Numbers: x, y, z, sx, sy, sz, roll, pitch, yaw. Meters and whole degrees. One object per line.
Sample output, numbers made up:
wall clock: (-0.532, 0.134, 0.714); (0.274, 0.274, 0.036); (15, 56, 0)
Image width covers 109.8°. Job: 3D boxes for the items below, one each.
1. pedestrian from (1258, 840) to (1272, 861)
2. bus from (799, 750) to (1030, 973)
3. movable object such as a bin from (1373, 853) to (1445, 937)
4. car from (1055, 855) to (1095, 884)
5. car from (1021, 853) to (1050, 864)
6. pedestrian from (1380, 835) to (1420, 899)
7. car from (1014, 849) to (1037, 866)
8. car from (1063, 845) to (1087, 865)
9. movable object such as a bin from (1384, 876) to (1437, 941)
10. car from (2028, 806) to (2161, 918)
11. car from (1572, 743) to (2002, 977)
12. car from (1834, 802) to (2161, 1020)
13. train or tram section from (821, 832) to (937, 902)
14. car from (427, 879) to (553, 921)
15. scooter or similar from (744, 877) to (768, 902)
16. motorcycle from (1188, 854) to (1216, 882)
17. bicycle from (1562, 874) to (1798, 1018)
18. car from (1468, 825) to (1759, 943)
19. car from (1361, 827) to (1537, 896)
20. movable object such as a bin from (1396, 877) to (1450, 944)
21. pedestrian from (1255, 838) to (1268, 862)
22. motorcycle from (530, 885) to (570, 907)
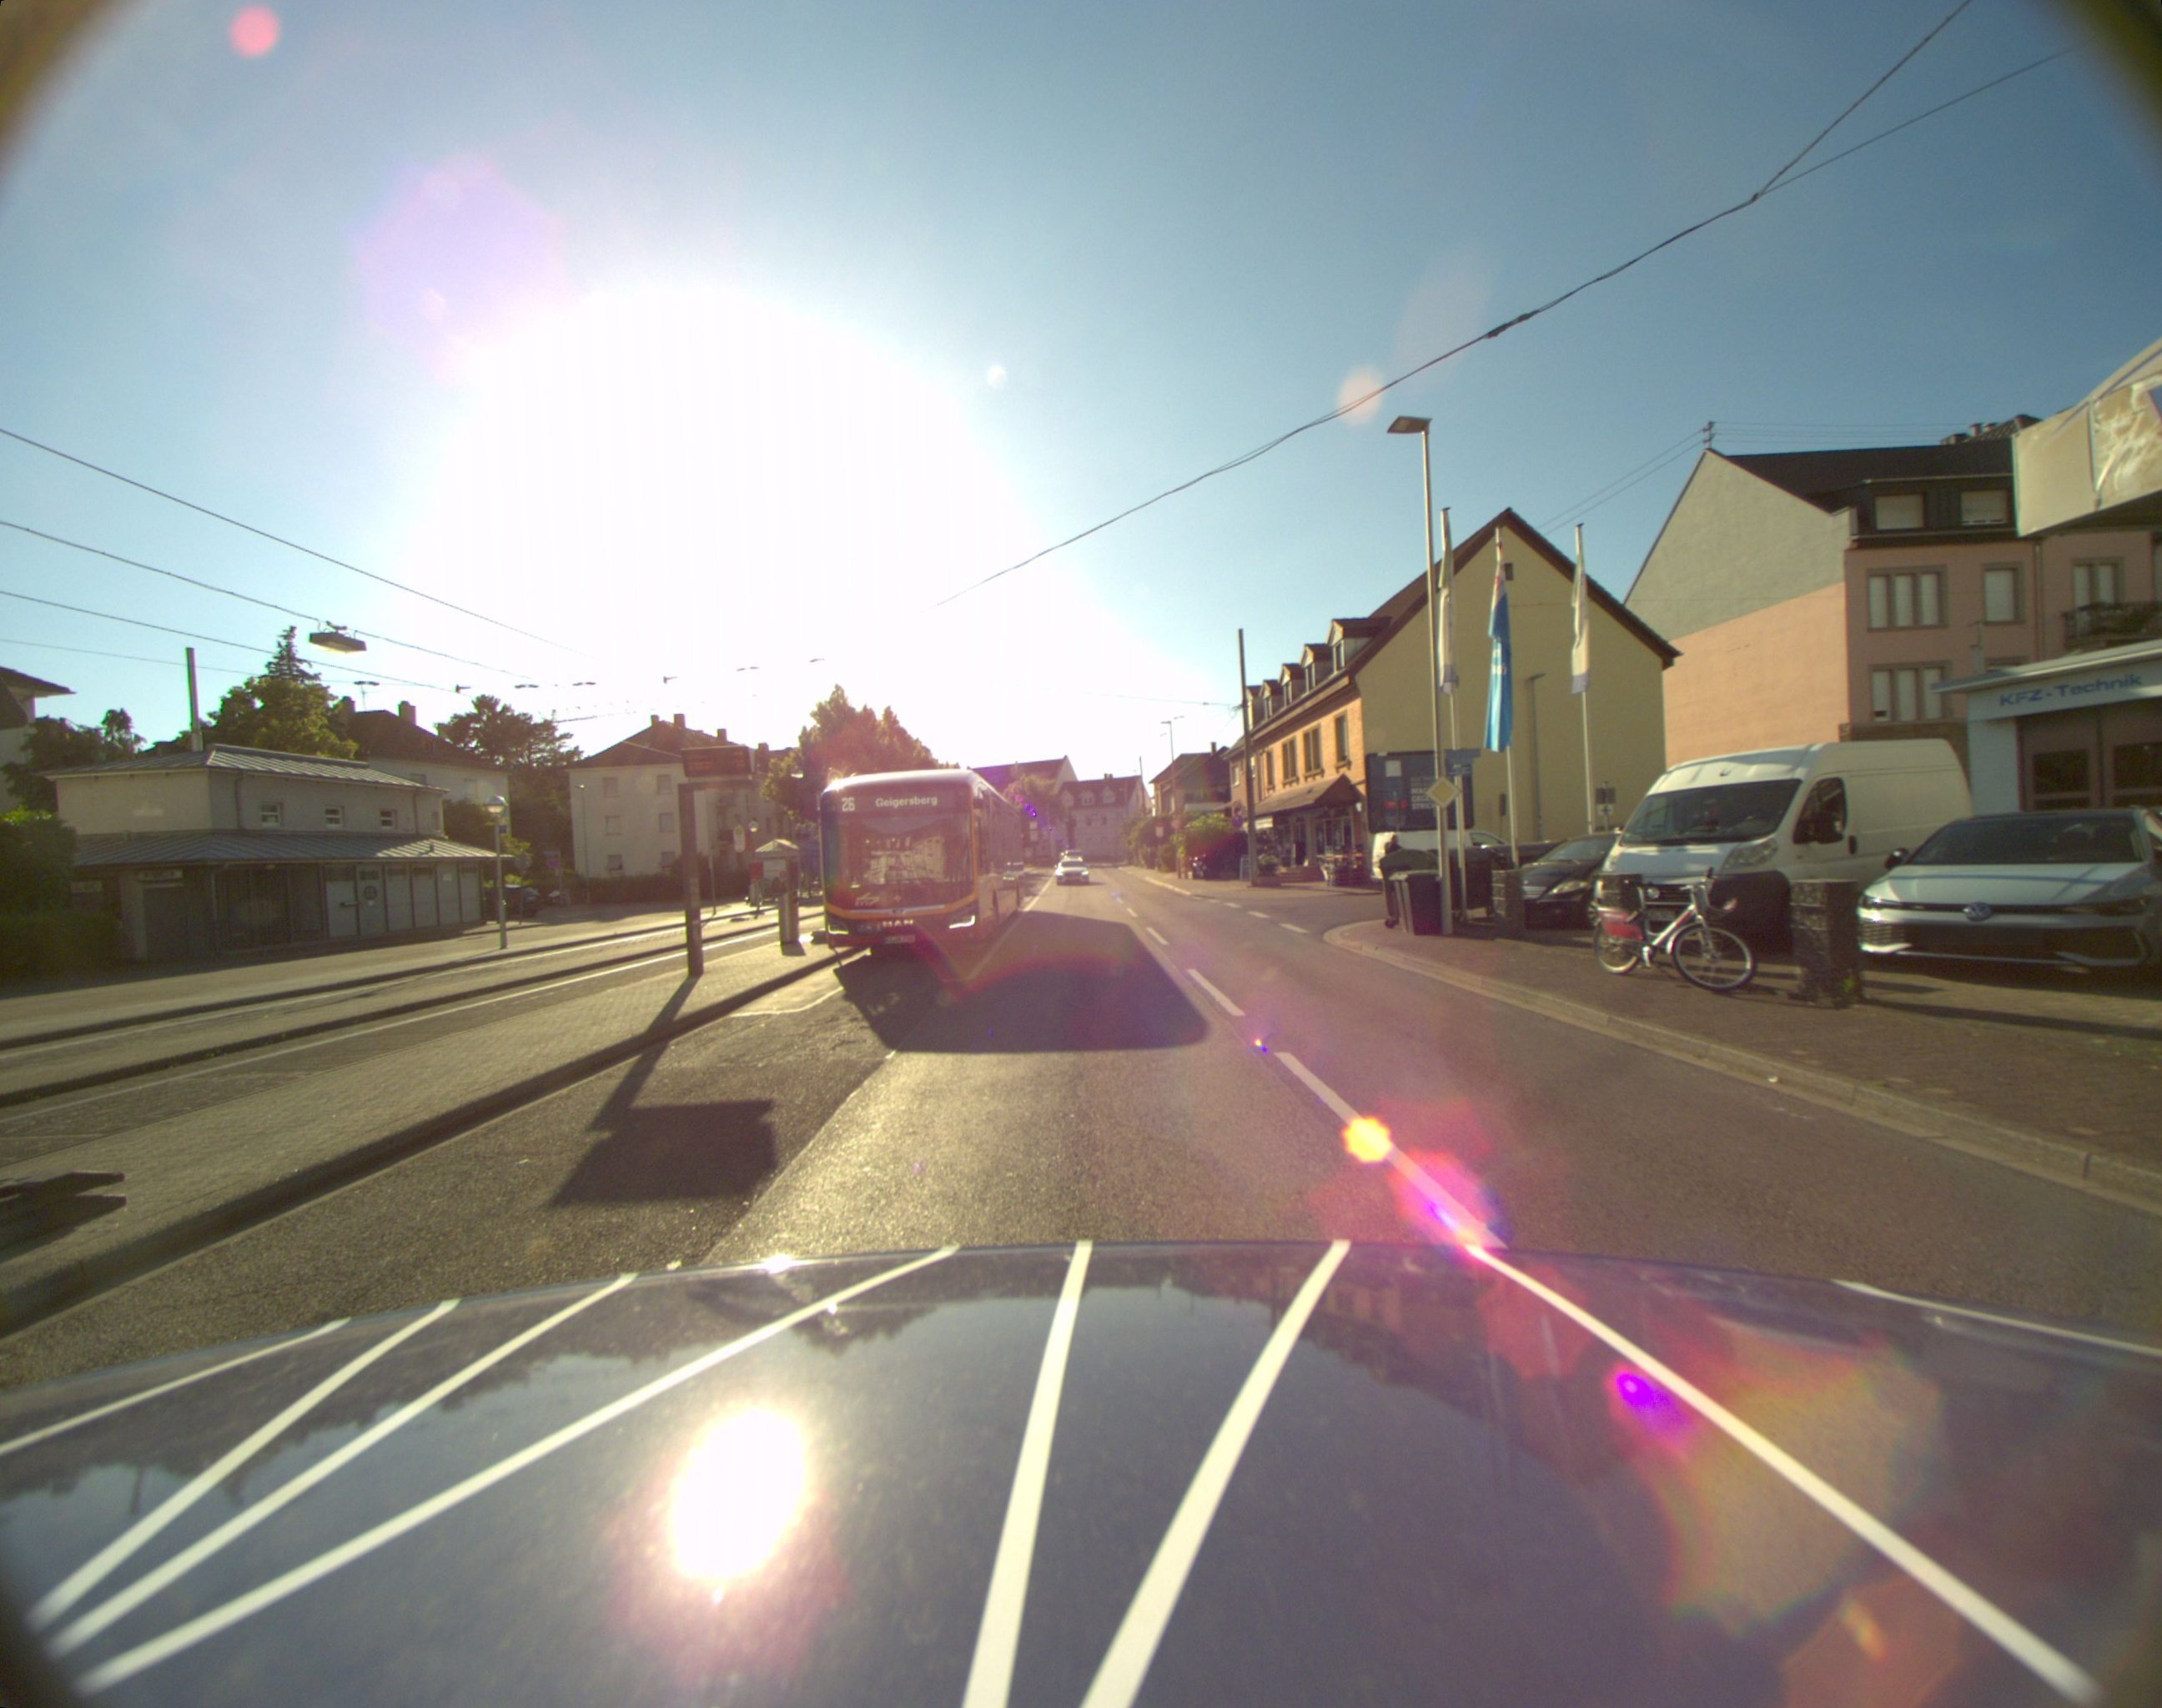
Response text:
pedestrian: (9.380, -0.192, 38.690); (0.525, 1.041, 0.383); (-3, 1, -17)
bus: (-3.029, 0.112, 17.998); (2.695, 3.396, 12.017); (-3, 0, 0)
movable object such as a bin: (6.220, 0.765, 14.375); (1.056, 1.473, 1.315); (-4, -3, 28)
car: (-0.291, 0.875, 44.542); (1.998, 1.454, 4.450); (-3, 0, 3)
car: (-7.186, 0.681, 119.580); (4.196, 1.454, 1.610); (-4, 0, 31)
pedestrian: (9.673, 0.389, 23.046); (0.794, 1.857, 0.820); (-3, 1, 2)
car: (-5.855, 0.388, 80.710); (1.998, 1.664, 4.000); (-2, 0, 0)
car: (-0.688, 0.095, 80.236); (1.872, 1.922, 4.789); (-5, 0, -7)
movable object such as a bin: (5.774, 0.951, 13.324); (0.661, 1.056, 0.585); (-5, -1, 12)
car: (16.282, 0.076, 10.141); (1.772, 1.559, 4.315); (-4, 0, -2)
car: (9.254, -0.059, 9.965); (5.076, 2.455, 2.105); (-4, 1, -22)
car: (9.335, 0.372, 7.399); (4.005, 1.559, 1.769); (-4, 0, -30)
train or tram section: (-11.951, 0.472, 47.260); (2.965, 3.514, 15.964); (-2, 1, -1)
car: (-28.094, 2.169, 36.221); (4.449, 1.759, 2.000); (-2, 1, 3)
scooter or similar: (-16.362, 1.775, 38.300); (0.467, 1.201, 1.210); (-3, 1, 11)
motorcycle: (6.088, 0.691, 38.406); (0.841, 1.275, 2.231); (-4, 1, -3)
bicycle: (5.816, 0.825, 7.532); (0.725, 1.171, 1.779); (-3, 1, -10)
car: (8.913, 0.451, 12.806); (4.001, 1.559, 1.771); (-4, 0, -15)
car: (11.709, 0.215, 24.361); (4.627, 1.922, 1.999); (-3, 1, -2)
movable object such as a bin: (5.698, 0.937, 12.689); (0.641, 1.063, 0.581); (-4, -2, 12)
pedestrian: (9.498, -0.226, 39.937); (0.524, 1.251, 0.465); (-3, 1, 1)
motorcycle: (-31.366, 2.493, 44.905); (1.827, 1.155, 0.558); (-3, 1, -3)
